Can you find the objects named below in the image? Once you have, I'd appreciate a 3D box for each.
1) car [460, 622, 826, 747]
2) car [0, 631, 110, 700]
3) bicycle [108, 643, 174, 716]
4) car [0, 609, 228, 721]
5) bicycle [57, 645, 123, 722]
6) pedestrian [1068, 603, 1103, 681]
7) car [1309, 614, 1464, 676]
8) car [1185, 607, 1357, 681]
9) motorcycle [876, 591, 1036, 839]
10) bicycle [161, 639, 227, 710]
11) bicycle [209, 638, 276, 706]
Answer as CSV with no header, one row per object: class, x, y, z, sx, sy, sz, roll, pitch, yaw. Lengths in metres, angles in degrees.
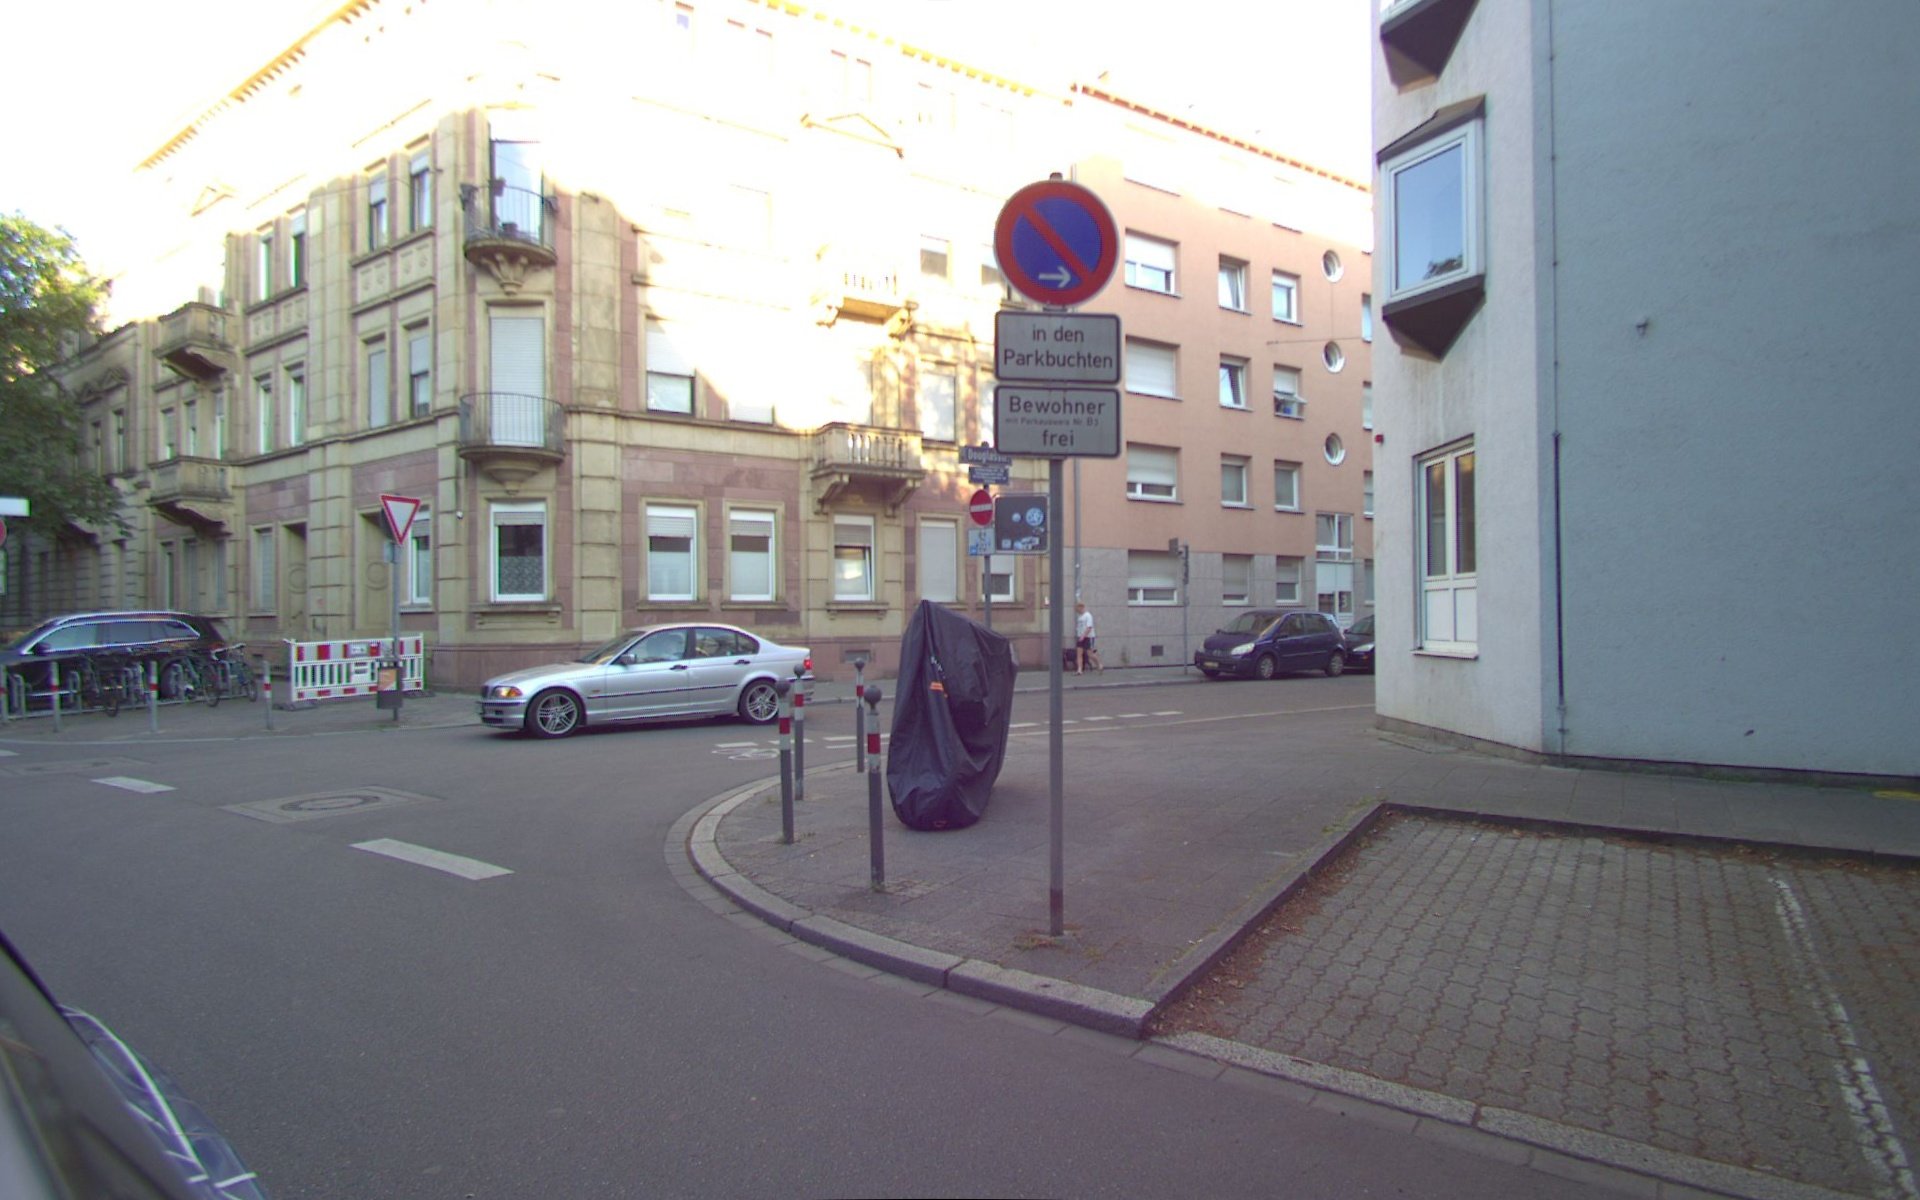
car,-4.169,1.048,13.602,4.396,1.414,1.687,1,-3,-34
car,-22.071,1.474,22.654,1.773,1.499,4.392,-2,-2,36
bicycle,-13.454,1.283,16.603,1.866,1.097,0.360,0,1,36
car,-15.966,1.096,17.935,1.773,1.751,4.536,0,1,36
bicycle,-13.760,1.291,15.998,1.866,1.097,0.360,0,1,36
pedestrian,2.903,0.964,23.422,0.559,1.757,0.552,1,-2,-34
car,11.351,1.145,26.869,4.211,1.525,1.699,0,-2,-33
car,7.427,1.011,24.090,3.985,1.637,1.700,0,-2,-32
motorcycle,0.043,0.755,7.547,0.663,1.567,2.152,-1,-1,14
bicycle,-12.951,1.238,17.094,1.866,1.097,0.360,0,1,36
bicycle,-12.551,1.236,17.682,1.866,1.097,0.360,0,1,36
